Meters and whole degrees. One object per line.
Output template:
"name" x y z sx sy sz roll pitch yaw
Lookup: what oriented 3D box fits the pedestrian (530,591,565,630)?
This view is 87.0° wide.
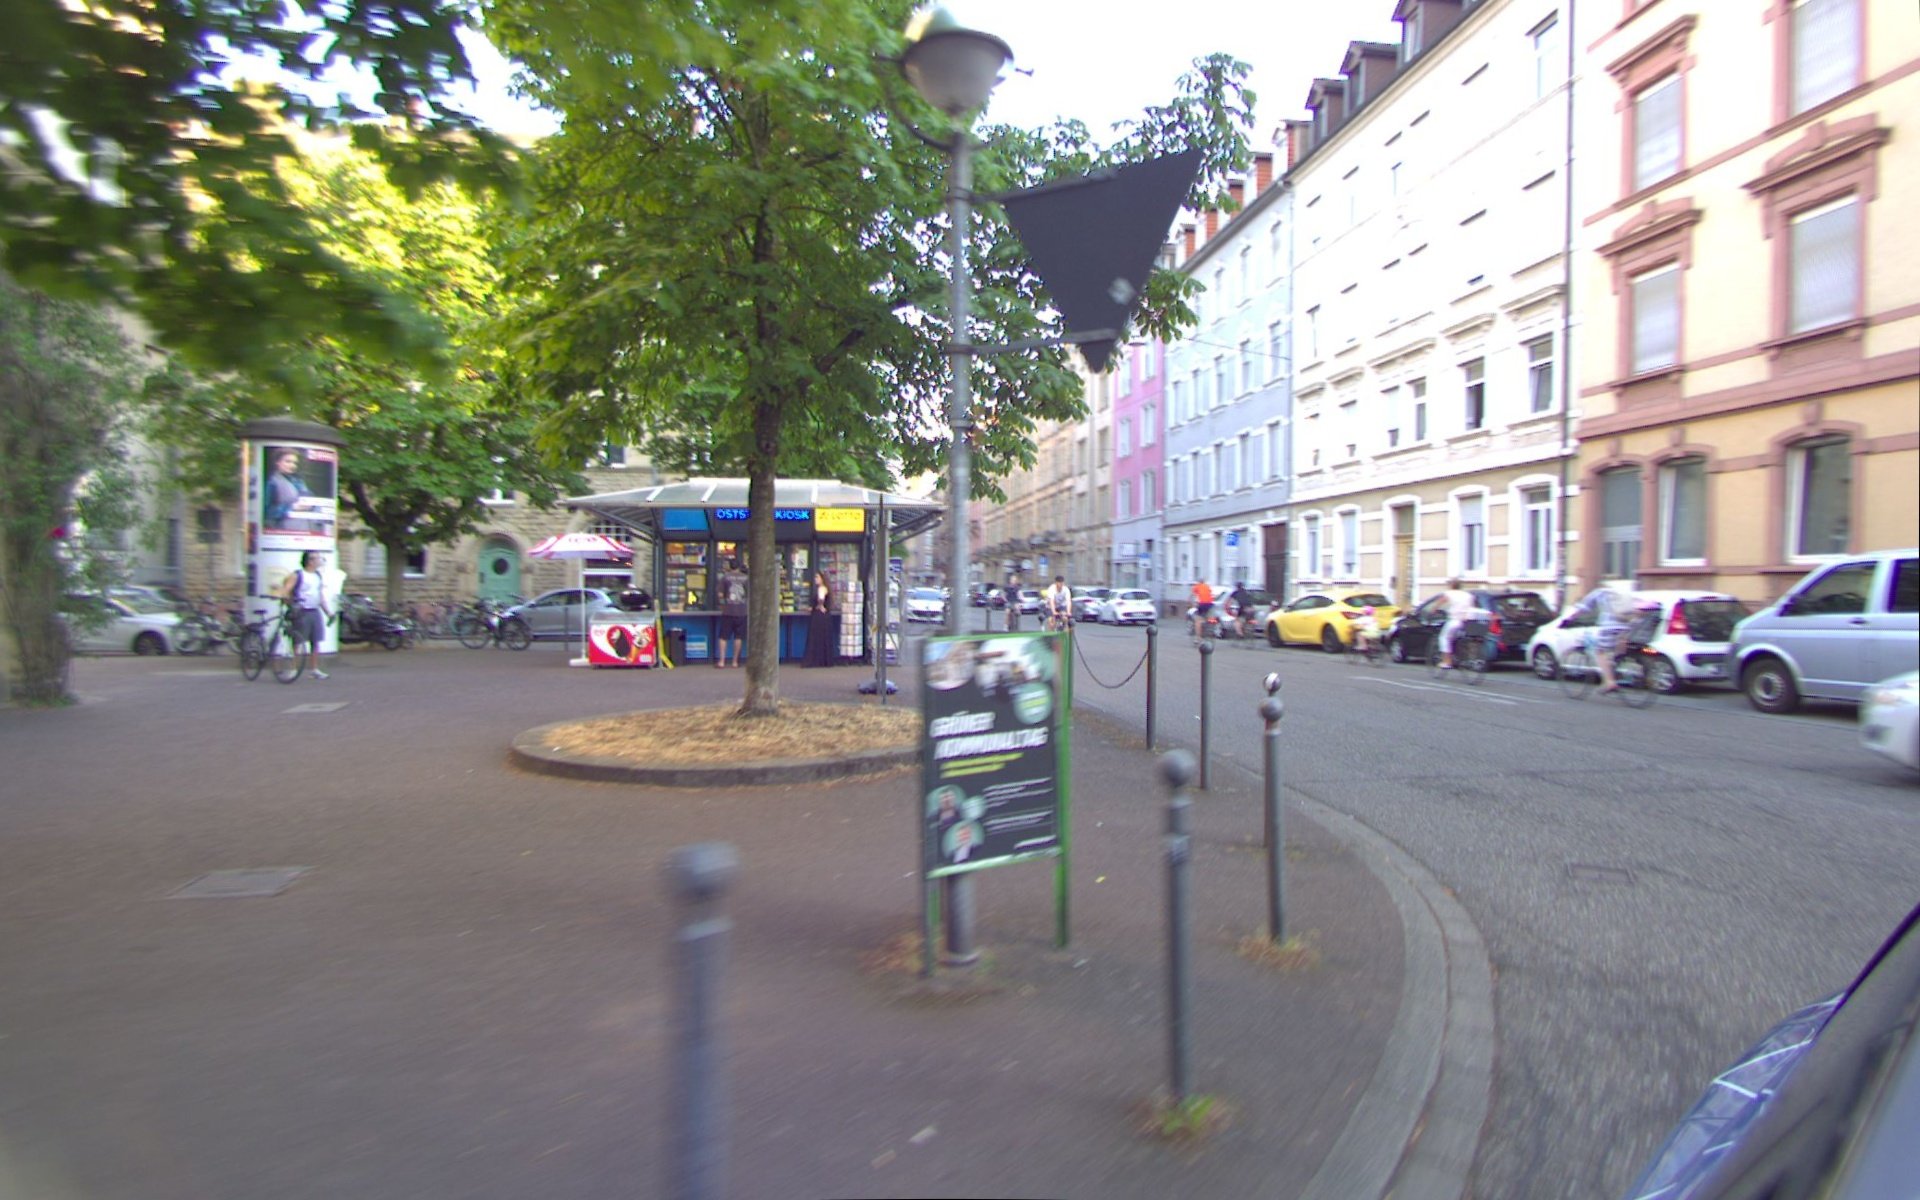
"pedestrian" -13.580 0.333 33.368 0.907 1.242 0.824 0 0 -10

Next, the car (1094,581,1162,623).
"car" 6.912 0.069 42.083 1.723 1.595 3.932 -2 1 -7

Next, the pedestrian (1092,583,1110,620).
"pedestrian" 7.548 0.057 54.238 0.835 1.973 0.834 0 0 -3

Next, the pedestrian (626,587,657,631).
"pedestrian" -10.568 0.280 33.564 0.884 1.443 0.716 0 0 -10

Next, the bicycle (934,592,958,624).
"bicycle" -0.565 0.283 39.116 0.672 1.166 2.117 3 0 -6

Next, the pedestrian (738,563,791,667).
"pedestrian" -3.209 0.234 16.574 0.666 1.658 0.590 0 0 -37

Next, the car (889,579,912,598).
"car" -5.907 -1.101 99.787 1.919 1.761 4.290 -2 1 -7

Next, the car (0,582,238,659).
"car" -18.347 0.412 22.068 3.828 1.502 1.829 -1 1 -7

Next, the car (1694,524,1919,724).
"car" 10.932 0.212 10.891 2.006 2.082 5.011 -2 1 -6

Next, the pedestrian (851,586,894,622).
"pedestrian" -3.213 0.148 37.300 0.838 1.302 1.398 2 1 40

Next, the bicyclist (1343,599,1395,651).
"bicyclist" 8.000 0.485 19.829 0.635 0.989 0.732 0 0 -14

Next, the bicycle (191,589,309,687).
"bicycle" -9.547 0.474 13.595 1.900 1.202 0.628 1 1 33

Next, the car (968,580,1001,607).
"car" 1.922 -0.544 81.047 1.837 1.985 4.299 -3 1 -8

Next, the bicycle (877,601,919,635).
"bicycle" -1.971 0.566 32.325 0.430 1.052 1.453 1 1 42

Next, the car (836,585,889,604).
"car" -7.936 -0.433 82.275 4.217 1.548 1.826 0 0 -7

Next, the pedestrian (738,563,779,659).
"pedestrian" -3.555 0.191 17.826 0.664 1.658 0.592 0 0 -15

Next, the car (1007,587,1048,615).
"car" 4.146 0.042 62.729 1.724 1.493 4.062 -6 1 -6

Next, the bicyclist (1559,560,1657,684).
"bicyclist" 8.474 0.276 13.259 0.665 1.564 0.876 0 0 -8

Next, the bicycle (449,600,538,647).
"bicycle" -10.331 0.516 22.434 1.704 1.008 0.580 0 1 -5

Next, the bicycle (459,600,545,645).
"bicycle" -10.476 0.513 23.185 1.704 1.008 0.580 0 1 -5

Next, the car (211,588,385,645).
"car" -19.221 0.456 29.543 3.827 1.502 1.829 -1 1 -9

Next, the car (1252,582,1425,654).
"car" 9.164 0.378 24.991 1.807 1.545 4.809 -2 1 -9

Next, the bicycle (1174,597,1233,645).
"bicycle" 6.016 0.499 25.075 0.638 1.121 2.018 0 1 -11

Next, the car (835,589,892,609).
"car" -7.279 -0.097 76.101 4.217 1.470 1.826 0 0 -7

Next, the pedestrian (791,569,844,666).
"pedestrian" -2.332 0.272 16.565 0.666 1.558 0.590 0 0 -37

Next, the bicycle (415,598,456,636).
"bicycle" -15.767 0.486 30.443 0.579 1.091 1.838 0 1 -10

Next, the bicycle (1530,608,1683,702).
"bicycle" 8.461 0.686 13.346 0.671 1.108 1.811 0 1 -8

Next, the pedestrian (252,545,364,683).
"pedestrian" -8.978 0.166 13.953 0.998 1.811 0.969 1 1 32

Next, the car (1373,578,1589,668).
"car" 9.836 0.368 19.461 1.699 1.510 3.749 -2 1 -11

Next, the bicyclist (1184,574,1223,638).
"bicyclist" 6.016 0.143 25.067 0.640 1.545 0.868 0 0 -10

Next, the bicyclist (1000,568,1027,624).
"bicyclist" 1.483 -0.119 28.327 0.673 1.531 0.973 0 0 -2

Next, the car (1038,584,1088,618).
"car" 5.374 0.028 53.376 1.723 1.612 4.063 -2 1 -7

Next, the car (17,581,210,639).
"car" -24.071 0.248 28.917 3.826 1.502 1.829 -1 1 -10

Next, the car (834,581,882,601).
"car" -9.075 -0.800 89.942 4.217 1.697 1.826 0 0 -7

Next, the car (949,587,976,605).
"car" 0.187 -0.390 93.913 1.723 1.493 4.064 -6 1 -10

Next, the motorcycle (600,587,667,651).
"motorcycle" -6.289 0.346 19.577 0.852 1.181 1.884 0 0 -6

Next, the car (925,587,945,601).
"car" -2.958 -0.696 119.128 1.723 1.452 4.064 -6 1 -10

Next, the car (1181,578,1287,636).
"car" 8.396 0.191 31.404 1.770 1.612 4.150 -2 1 -5

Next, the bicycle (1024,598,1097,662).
"bicycle" 1.944 0.555 19.939 0.672 1.166 2.119 0 0 -17

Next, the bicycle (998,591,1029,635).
"bicycle" 1.481 0.344 28.321 0.673 1.166 2.116 0 0 -2

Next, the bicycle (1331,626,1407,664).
"bicycle" 7.992 0.860 19.831 0.638 0.651 1.467 0 1 -14

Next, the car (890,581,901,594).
"car" -12.527 -2.478 196.395 1.724 2.305 4.062 -5 1 -6

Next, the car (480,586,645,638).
"car" -11.086 0.309 28.480 3.957 1.401 1.886 0 1 -4

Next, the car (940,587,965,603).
"car" -0.773 -0.515 102.924 1.723 1.452 4.064 -6 1 -10

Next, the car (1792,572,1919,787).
"car" 8.351 0.589 6.079 1.958 1.536 4.851 0 1 -21

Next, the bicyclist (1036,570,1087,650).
"bicyclist" 1.983 0.189 19.822 0.672 1.531 0.975 0 0 -17

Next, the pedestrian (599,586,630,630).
"pedestrian" -11.377 0.262 33.329 0.884 1.443 0.716 0 0 -10

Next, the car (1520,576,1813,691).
"car" 10.655 0.427 15.606 1.655 1.510 3.619 -2 1 -8

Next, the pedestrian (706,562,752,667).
"pedestrian" -3.728 0.222 16.372 0.664 1.658 0.592 0 0 -8

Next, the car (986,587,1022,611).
"car" 3.062 -0.077 71.750 1.724 1.493 4.285 -6 1 -7

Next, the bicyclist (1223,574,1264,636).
"bicyclist" 7.268 0.122 25.962 0.701 1.545 0.869 0 0 -11

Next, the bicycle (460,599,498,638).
"bicycle" -14.509 0.541 30.562 0.579 1.091 1.838 0 1 -10

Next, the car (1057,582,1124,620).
"car" 6.009 0.005 47.182 1.801 1.612 4.680 -2 1 -9

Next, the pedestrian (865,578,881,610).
"pedestrian" -4.933 -0.319 57.495 0.835 1.789 0.834 1 0 -3

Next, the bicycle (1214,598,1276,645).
"bicycle" 7.272 0.531 25.934 0.708 1.121 2.018 0 1 -11

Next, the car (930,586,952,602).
"car" -2.120 -0.666 113.165 1.723 1.693 4.064 -6 1 -10

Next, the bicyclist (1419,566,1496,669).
"bicyclist" 8.008 0.262 16.310 0.711 1.603 0.877 0 0 -11

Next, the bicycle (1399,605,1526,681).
"bicycle" 8.017 0.648 16.267 0.714 1.108 2.052 0 1 -11

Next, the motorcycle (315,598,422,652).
"motorcycle" -11.971 0.489 20.500 1.796 1.067 0.580 0 1 -5

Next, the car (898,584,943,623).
"car" -1.725 0.144 43.619 1.735 1.503 4.466 3 0 -3
